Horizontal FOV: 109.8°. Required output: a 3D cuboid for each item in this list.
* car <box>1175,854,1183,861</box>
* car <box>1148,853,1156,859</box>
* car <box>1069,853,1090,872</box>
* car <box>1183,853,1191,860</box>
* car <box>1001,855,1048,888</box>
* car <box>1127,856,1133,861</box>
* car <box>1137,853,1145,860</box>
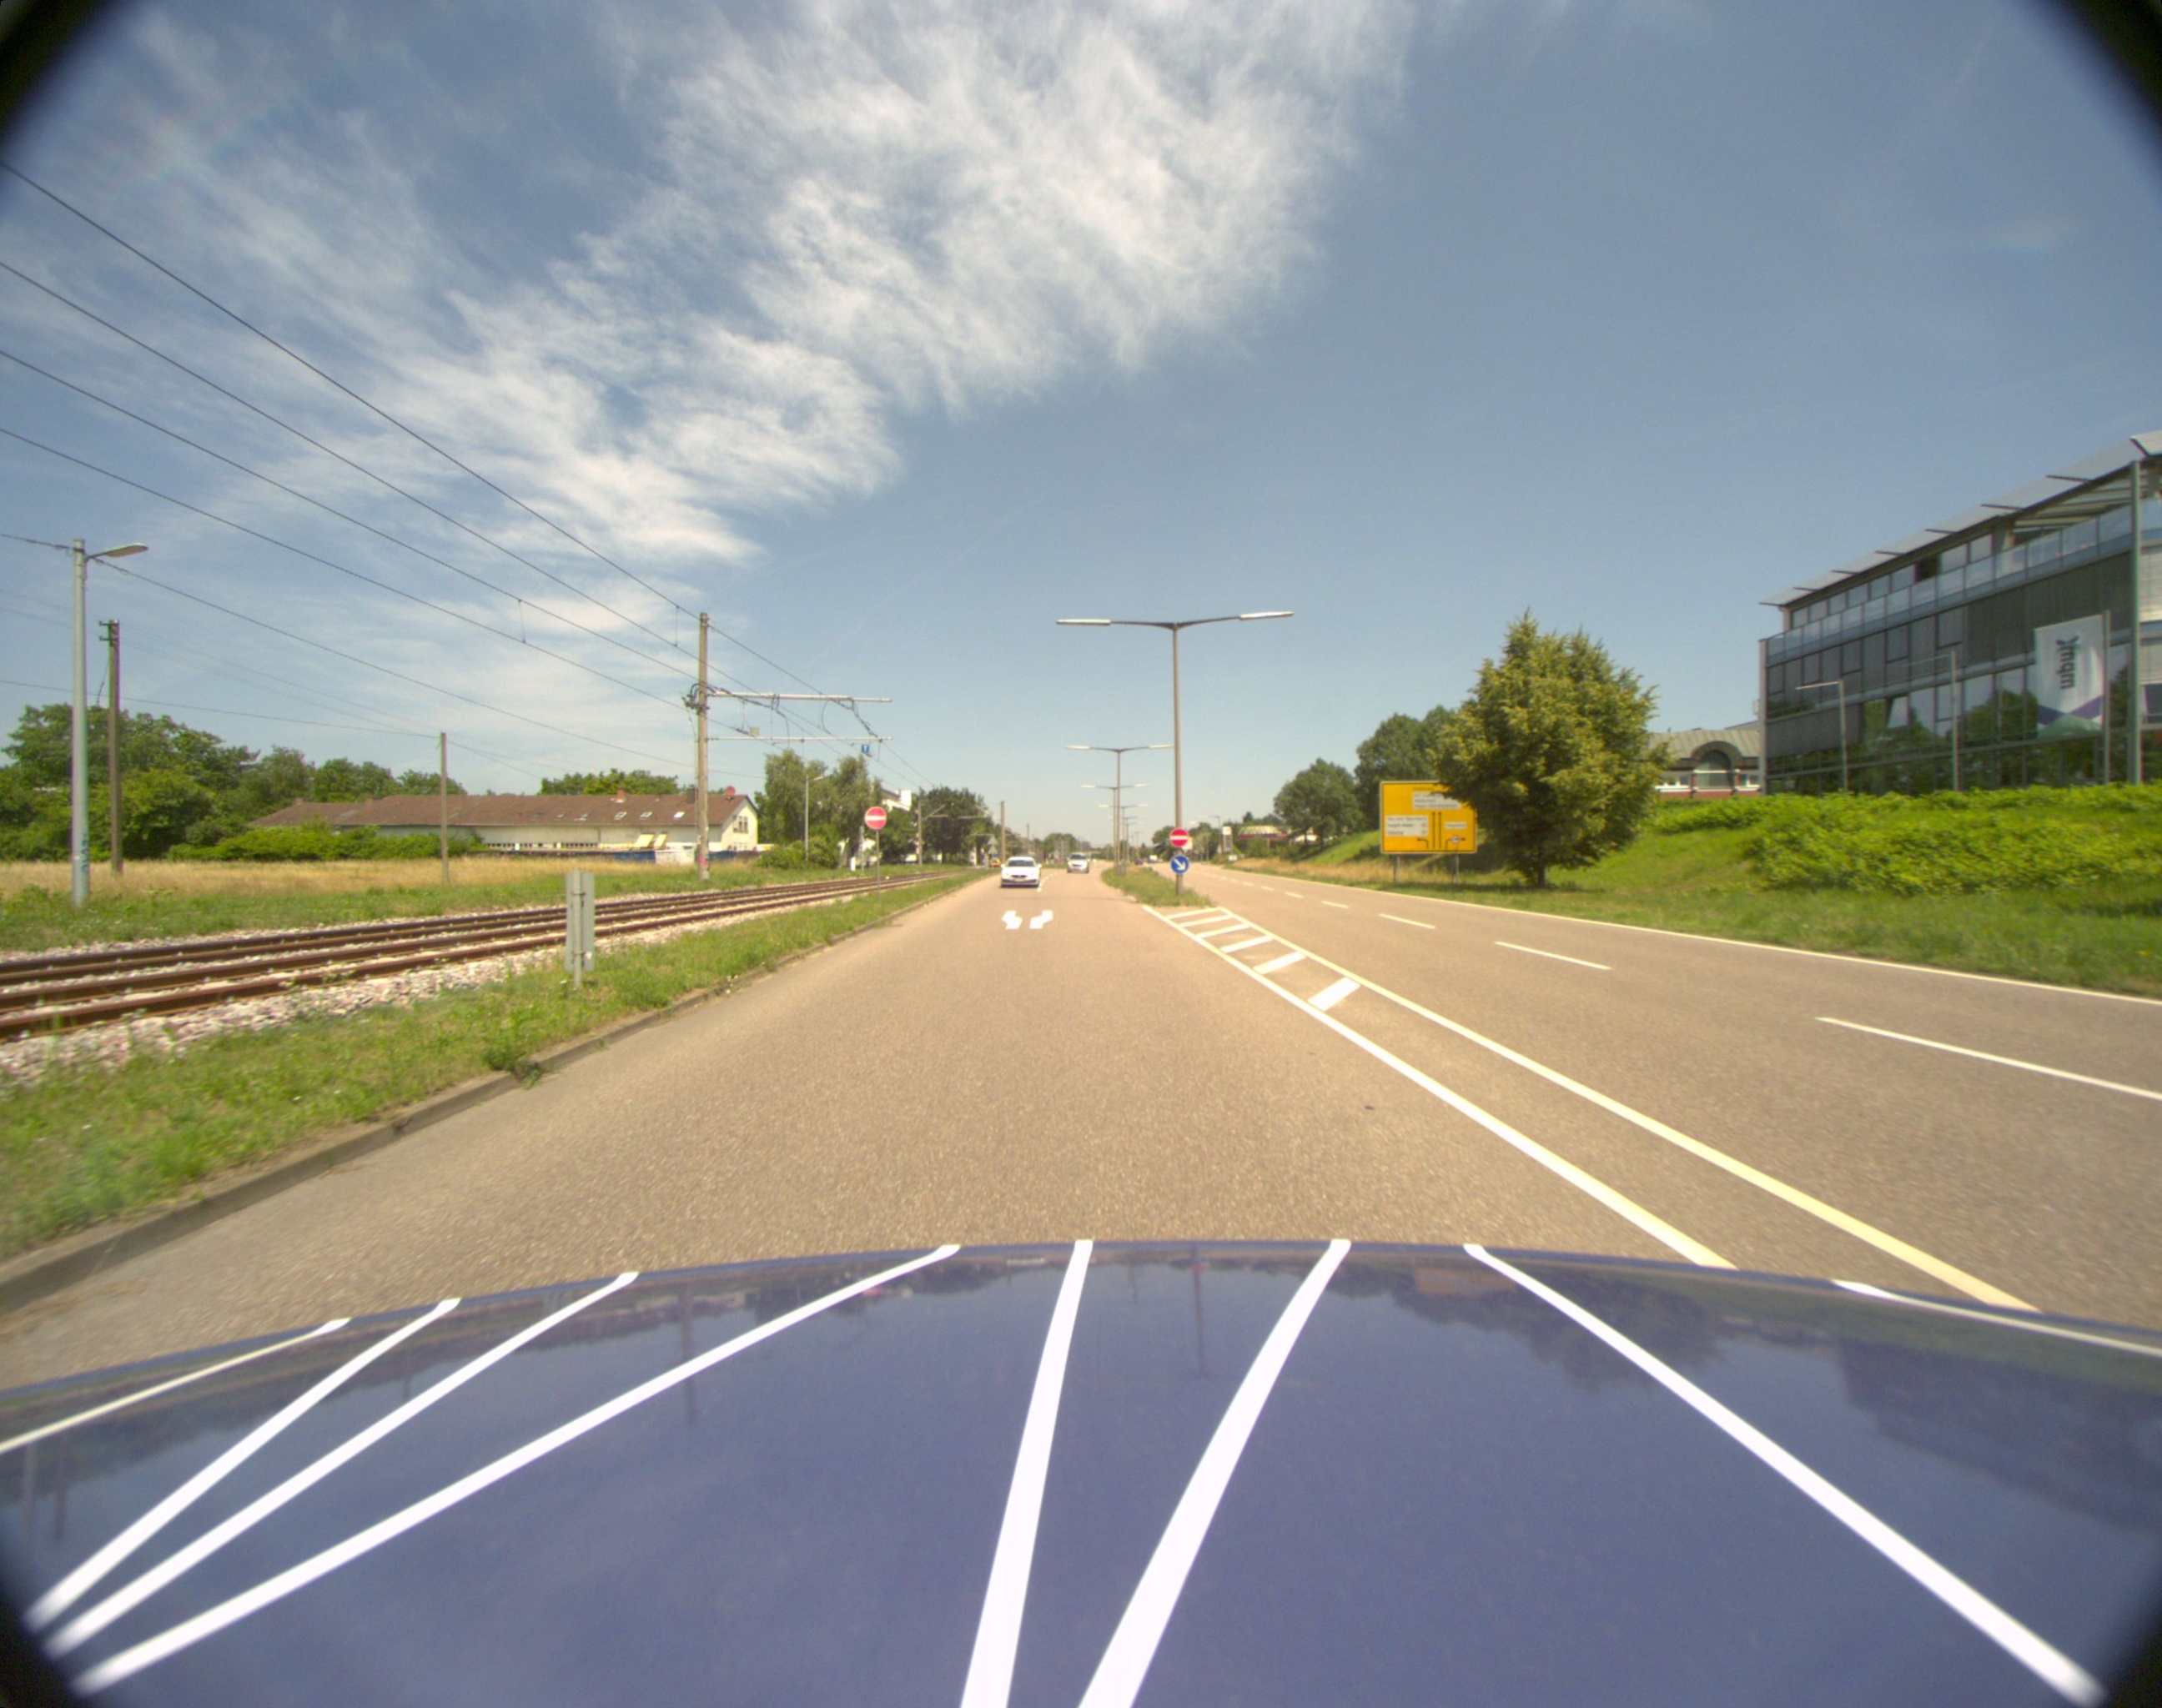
[{"bbox_3d":[20.075,0.803,155.739,1.621,1.346,3.516,0,1,6],"label":"car"},{"bbox_3d":[18.798,0.586,201.256,1.618,1.386,3.600,0,1,0],"label":"car"},{"bbox_3d":[-0.070,0.776,70.785,1.883,1.687,3.788,0,1,1],"label":"car"},{"bbox_3d":[25.373,0.598,182.064,1.653,1.577,3.819,0,1,1],"label":"car"},{"bbox_3d":[-2.715,0.823,37.142,1.771,1.434,4.129,0,1,3],"label":"car"},{"bbox_3d":[14.586,1.390,226.264,1.618,1.386,3.600,0,1,0],"label":"car"},{"bbox_3d":[13.596,0.603,171.763,1.618,1.386,3.600,0,1,0],"label":"car"}]
